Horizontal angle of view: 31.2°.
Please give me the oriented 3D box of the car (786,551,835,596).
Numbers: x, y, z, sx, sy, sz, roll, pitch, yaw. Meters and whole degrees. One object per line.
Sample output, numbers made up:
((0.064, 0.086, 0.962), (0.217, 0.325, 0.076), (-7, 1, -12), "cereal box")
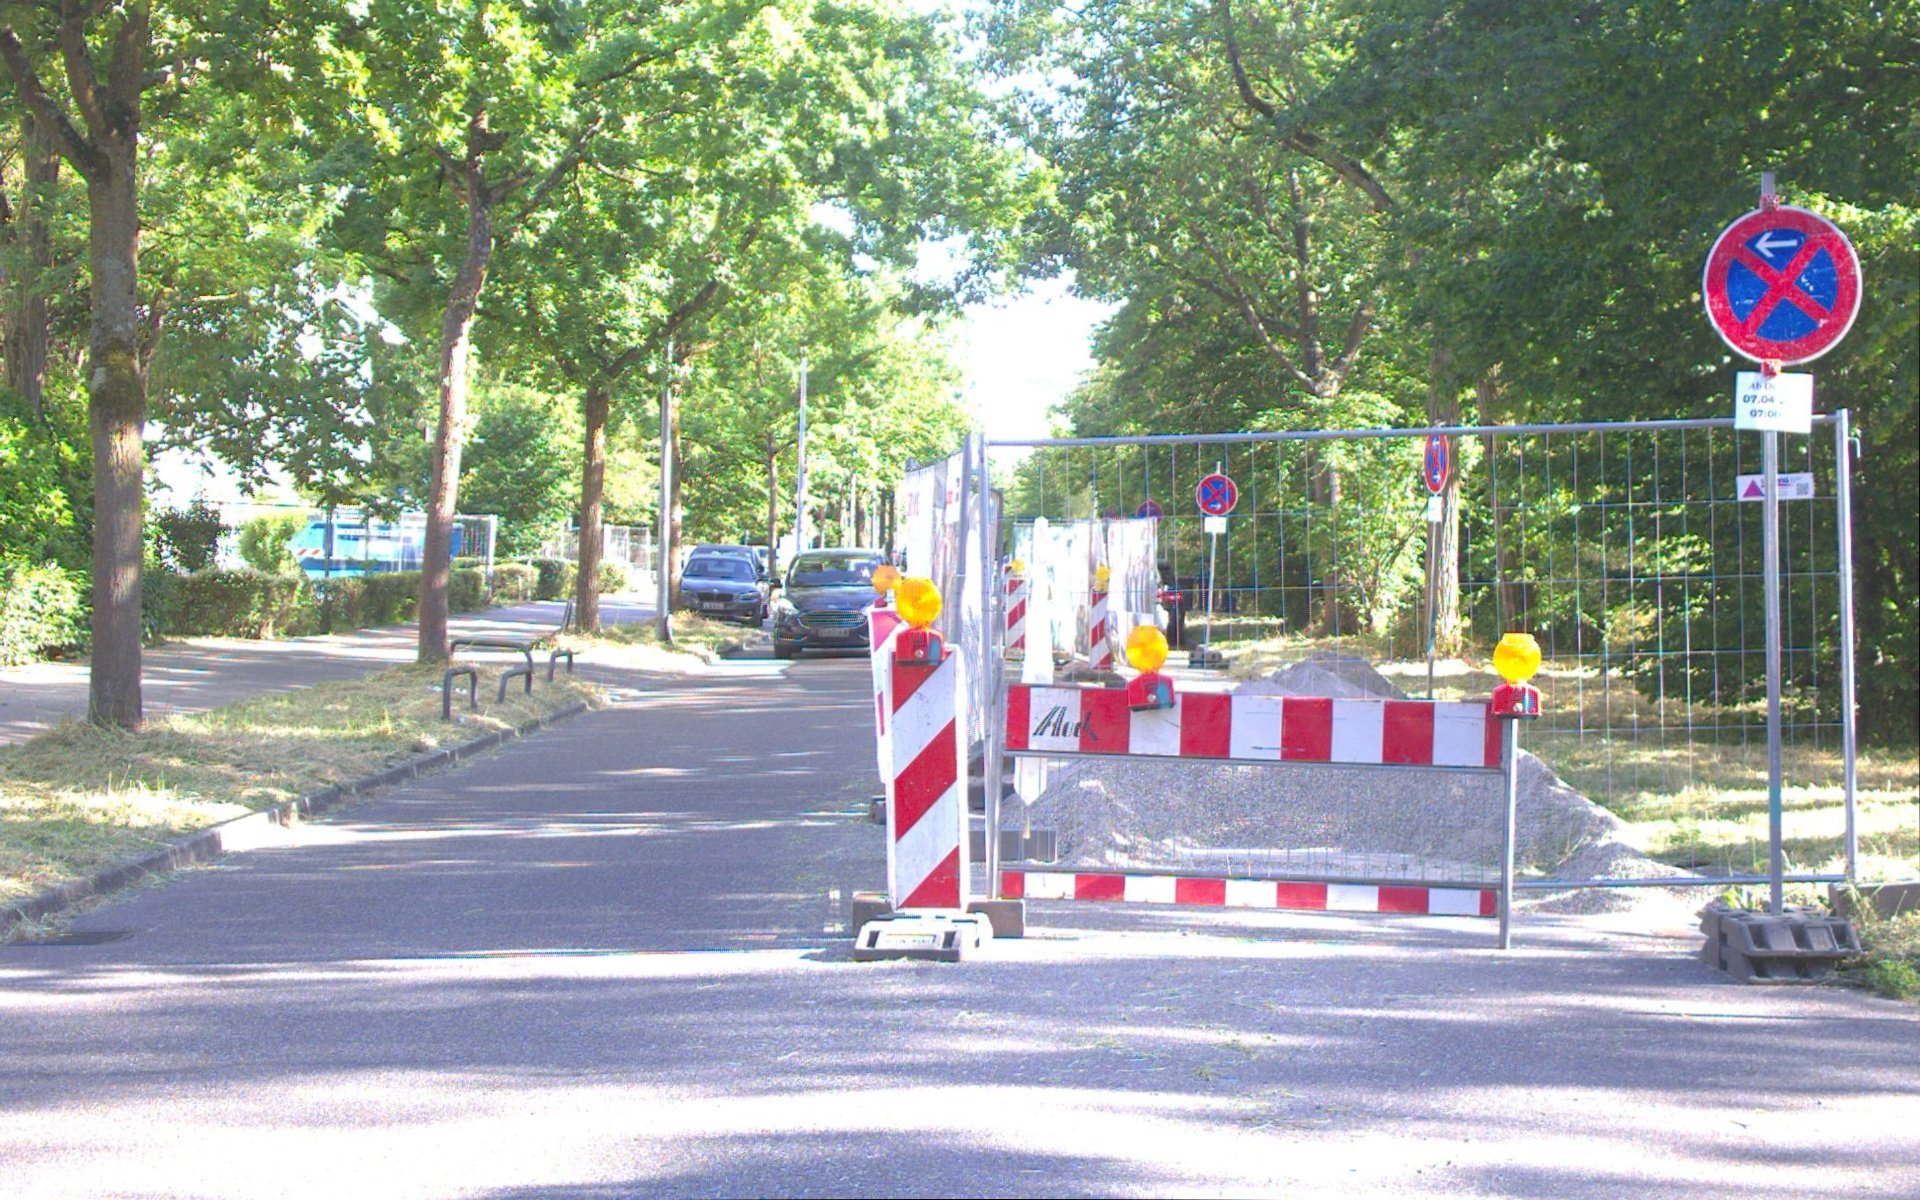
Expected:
((-4.473, -0.783, 103.244), (1.361, 1.298, 3.481), (2, 0, -2), "car")

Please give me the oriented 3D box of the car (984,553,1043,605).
((1.390, -0.557, 90.596), (1.361, 1.298, 3.481), (2, 0, -2), "car")

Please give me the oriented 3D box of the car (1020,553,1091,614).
((2.133, -0.372, 77.615), (1.361, 1.298, 3.481), (2, 0, -2), "car")

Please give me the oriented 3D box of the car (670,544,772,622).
((-4.703, -0.353, 68.085), (1.751, 1.473, 3.836), (1, 1, -1), "car")

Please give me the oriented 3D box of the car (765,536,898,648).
((-1.935, -0.156, 52.969), (1.821, 1.619, 4.492), (-1, 1, 1), "car")
